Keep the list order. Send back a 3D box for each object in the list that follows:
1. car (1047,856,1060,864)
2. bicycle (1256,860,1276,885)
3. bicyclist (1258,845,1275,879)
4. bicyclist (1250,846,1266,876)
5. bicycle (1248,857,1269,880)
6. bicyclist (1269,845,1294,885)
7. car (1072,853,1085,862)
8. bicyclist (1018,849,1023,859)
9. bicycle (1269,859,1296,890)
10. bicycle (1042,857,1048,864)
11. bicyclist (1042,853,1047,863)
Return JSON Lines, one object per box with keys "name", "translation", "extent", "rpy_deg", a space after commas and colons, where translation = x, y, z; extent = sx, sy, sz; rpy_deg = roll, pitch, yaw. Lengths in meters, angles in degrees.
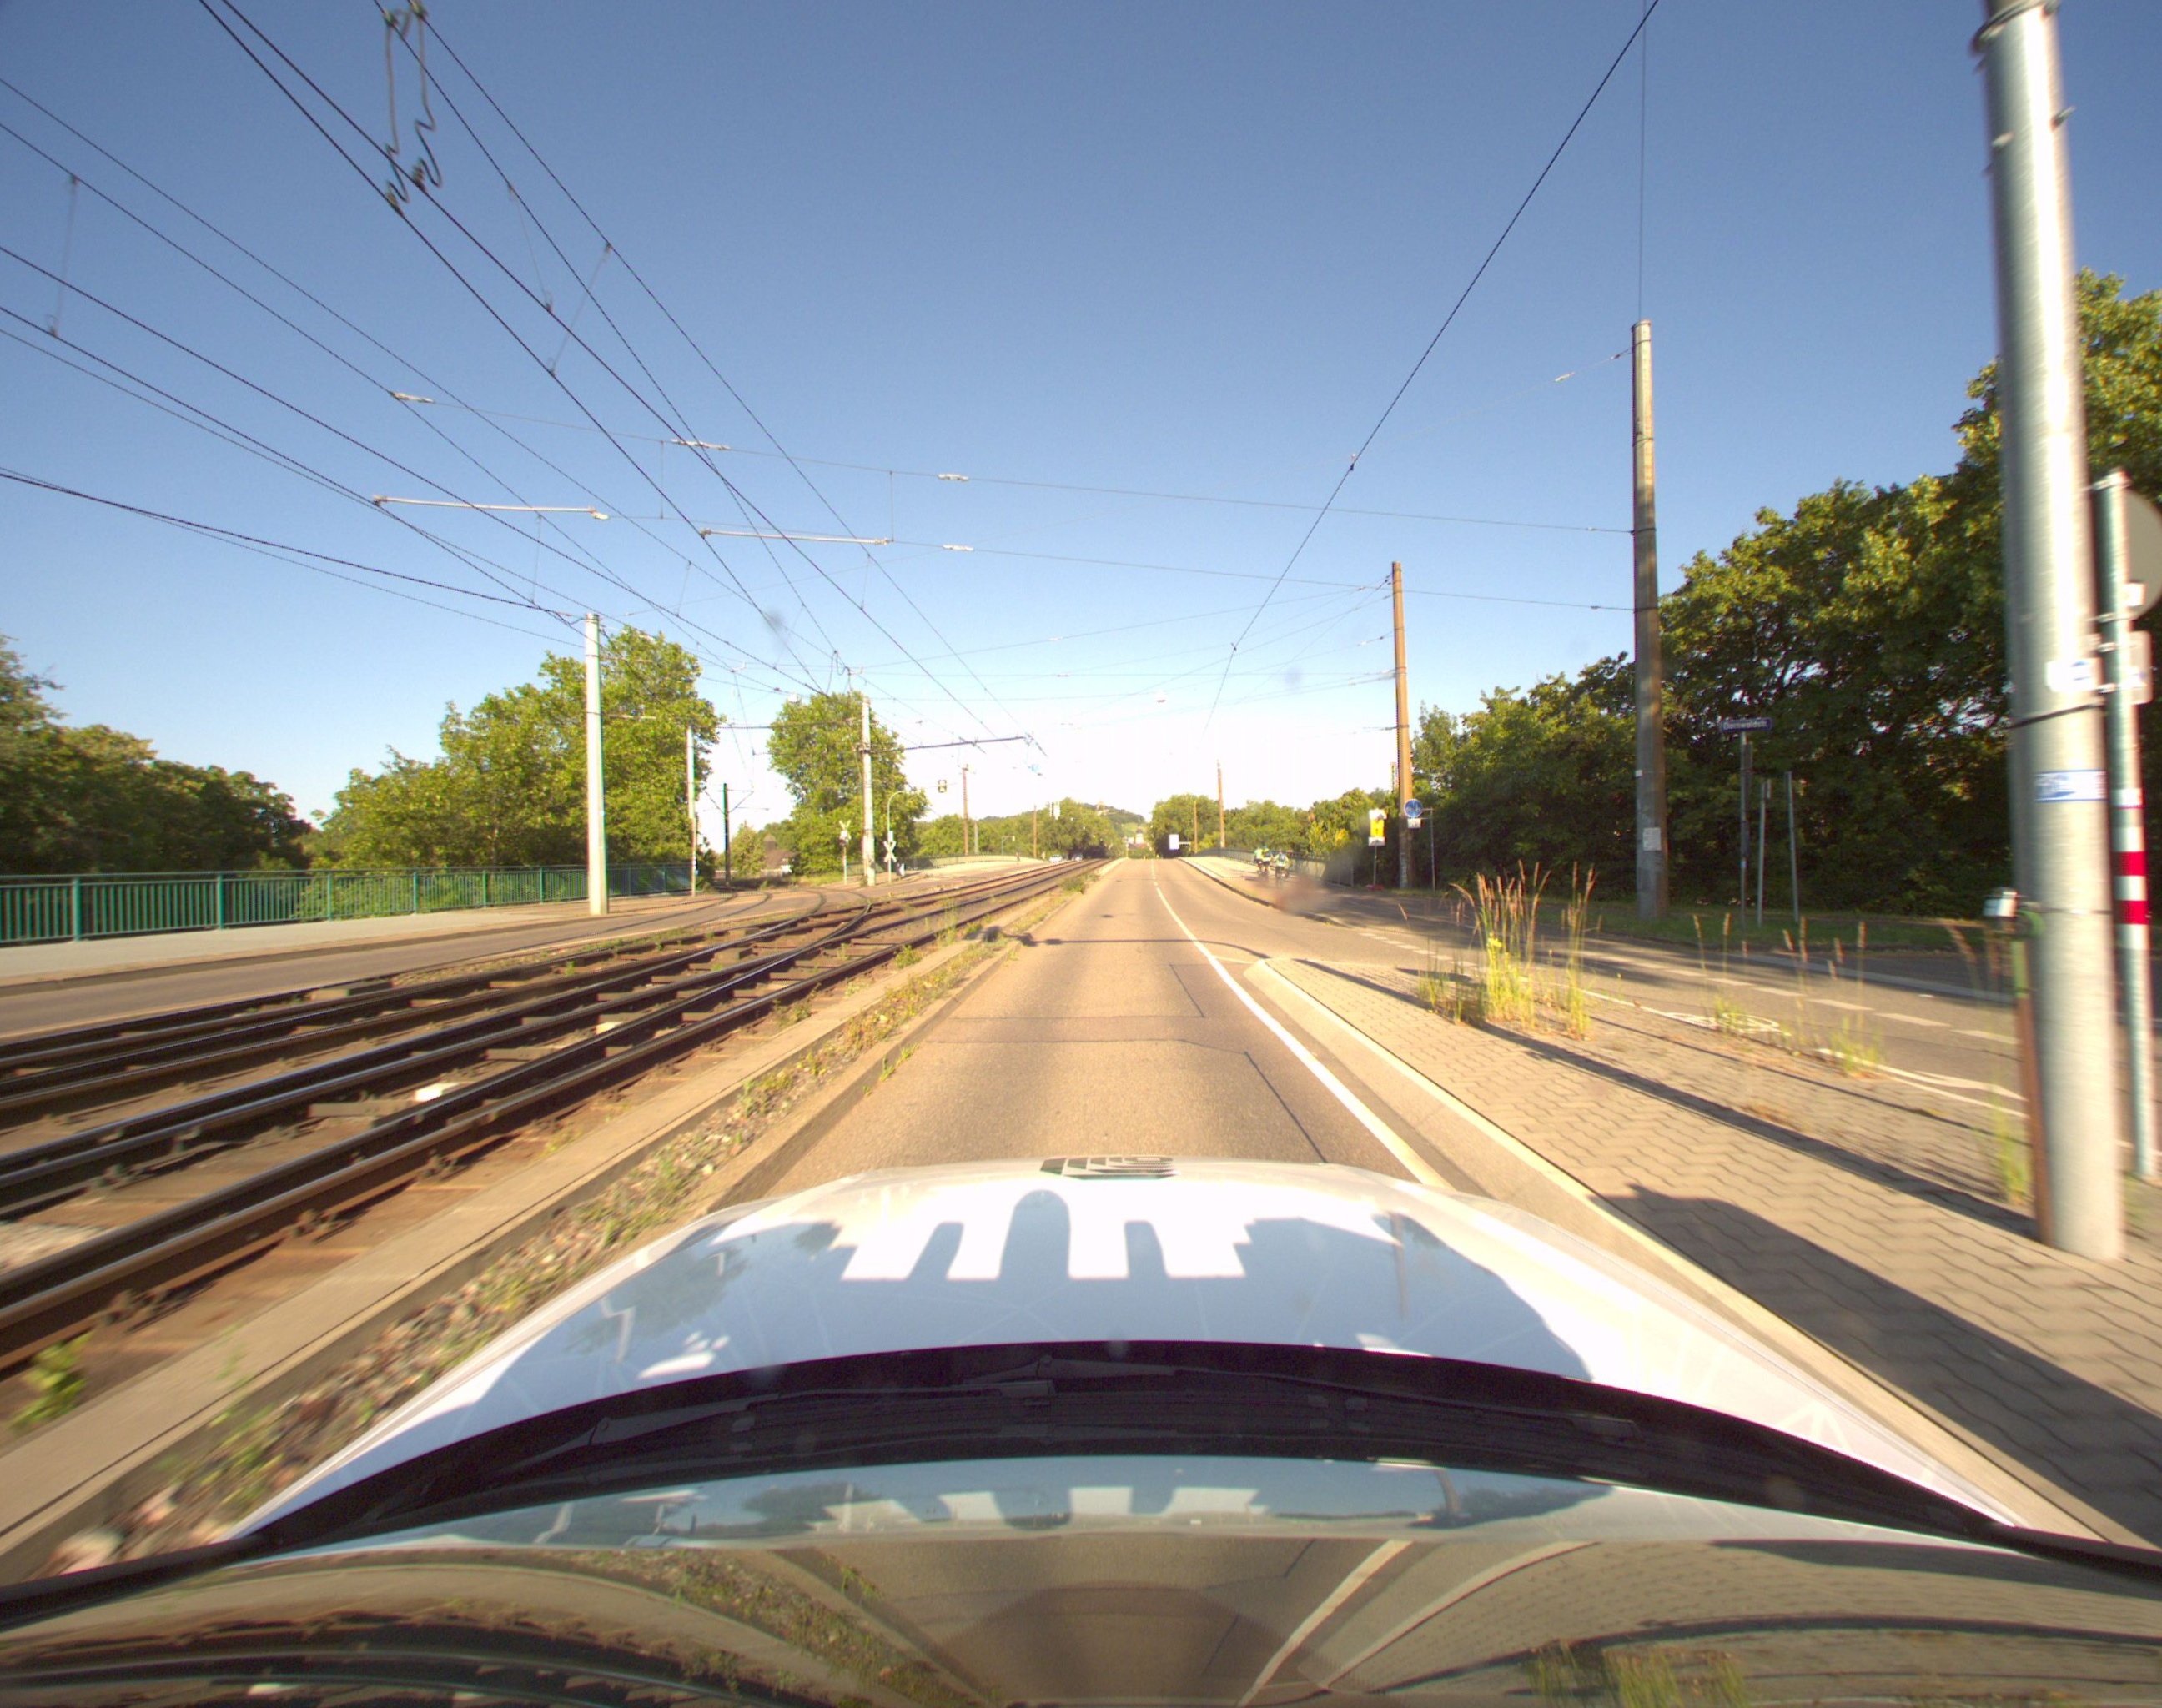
{"name": "car", "translation": [-4.570, 0.958, 136.502], "extent": [1.676, 1.356, 4.926], "rpy_deg": [-1, 0, 5]}
{"name": "bicycle", "translation": [8.704, 0.864, 38.391], "extent": [0.622, 1.122, 2.044], "rpy_deg": [-1, 0, 4]}
{"name": "bicyclist", "translation": [8.730, 0.373, 38.341], "extent": [0.622, 1.592, 0.932], "rpy_deg": [-1, -1, 4]}
{"name": "bicyclist", "translation": [8.986, 0.336, 41.300], "extent": [0.622, 1.508, 1.006], "rpy_deg": [-1, 0, 2]}
{"name": "bicycle", "translation": [8.987, 0.705, 41.260], "extent": [0.622, 1.122, 2.261], "rpy_deg": [-1, 0, 2]}
{"name": "bicyclist", "translation": [7.990, 0.428, 32.489], "extent": [0.808, 1.562, 0.898], "rpy_deg": [-1, 1, 4]}
{"name": "car", "translation": [-0.364, 0.552, 138.430], "extent": [1.840, 1.502, 4.224], "rpy_deg": [-1, 0, 5]}
{"name": "bicyclist", "translation": [-8.841, 0.004, 119.517], "extent": [0.622, 1.432, 0.969], "rpy_deg": [-1, -1, 4]}
{"name": "bicycle", "translation": [8.007, 0.811, 32.510], "extent": [0.680, 1.122, 2.219], "rpy_deg": [-1, 1, 4]}
{"name": "bicycle", "translation": [-6.396, 1.182, 144.080], "extent": [0.621, 1.122, 2.265], "rpy_deg": [-1, 0, 9]}
{"name": "bicyclist", "translation": [-6.417, 0.729, 143.999], "extent": [0.621, 1.633, 0.938], "rpy_deg": [-1, -1, 9]}
